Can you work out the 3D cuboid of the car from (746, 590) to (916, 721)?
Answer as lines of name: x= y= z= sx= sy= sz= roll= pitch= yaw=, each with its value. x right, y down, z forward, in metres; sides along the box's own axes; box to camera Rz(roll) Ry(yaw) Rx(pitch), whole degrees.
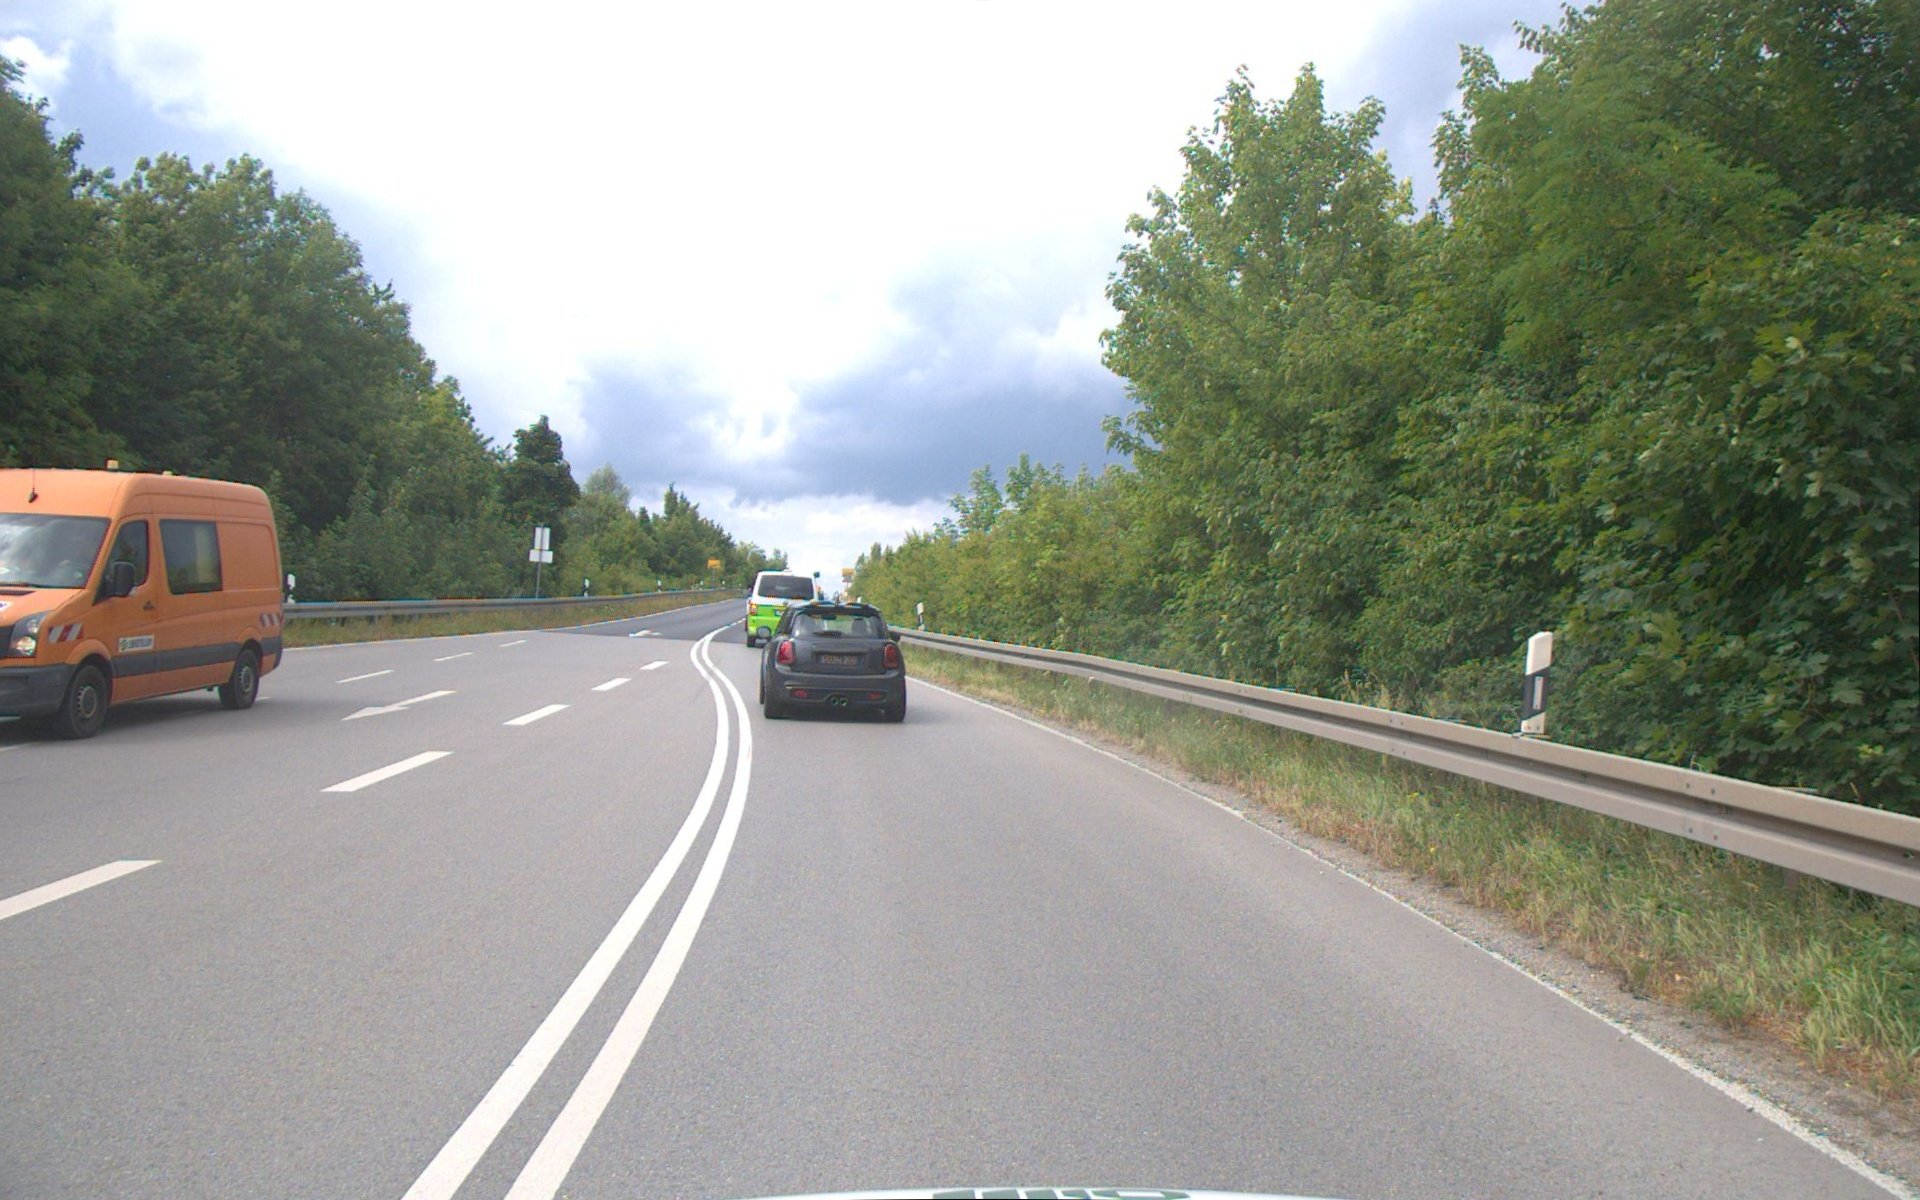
car: x=-1.756 y=0.646 z=21.326 sx=1.701 sy=1.481 sz=3.989 roll=2 pitch=0 yaw=-11

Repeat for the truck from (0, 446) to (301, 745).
truck: x=-9.318 y=-0.090 z=17.651 sx=2.269 sy=2.646 sz=6.022 roll=1 pitch=1 yaw=-2

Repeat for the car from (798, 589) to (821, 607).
car: x=-12.125 y=-0.168 z=133.426 sx=1.660 sy=1.342 sz=3.998 roll=1 pitch=1 yaw=-3

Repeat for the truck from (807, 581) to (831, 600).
truck: x=-18.250 y=-1.231 z=214.710 sx=2.852 sy=2.413 sz=10.444 roll=1 pitch=0 yaw=-4

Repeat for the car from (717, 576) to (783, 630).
car: x=-7.028 y=0.074 z=55.796 sx=1.949 sy=1.646 sz=4.149 roll=3 pitch=1 yaw=-5

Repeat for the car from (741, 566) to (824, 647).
car: x=-4.722 y=0.144 z=43.654 sx=1.985 sy=2.048 sz=3.992 roll=0 pitch=0 yaw=-9
